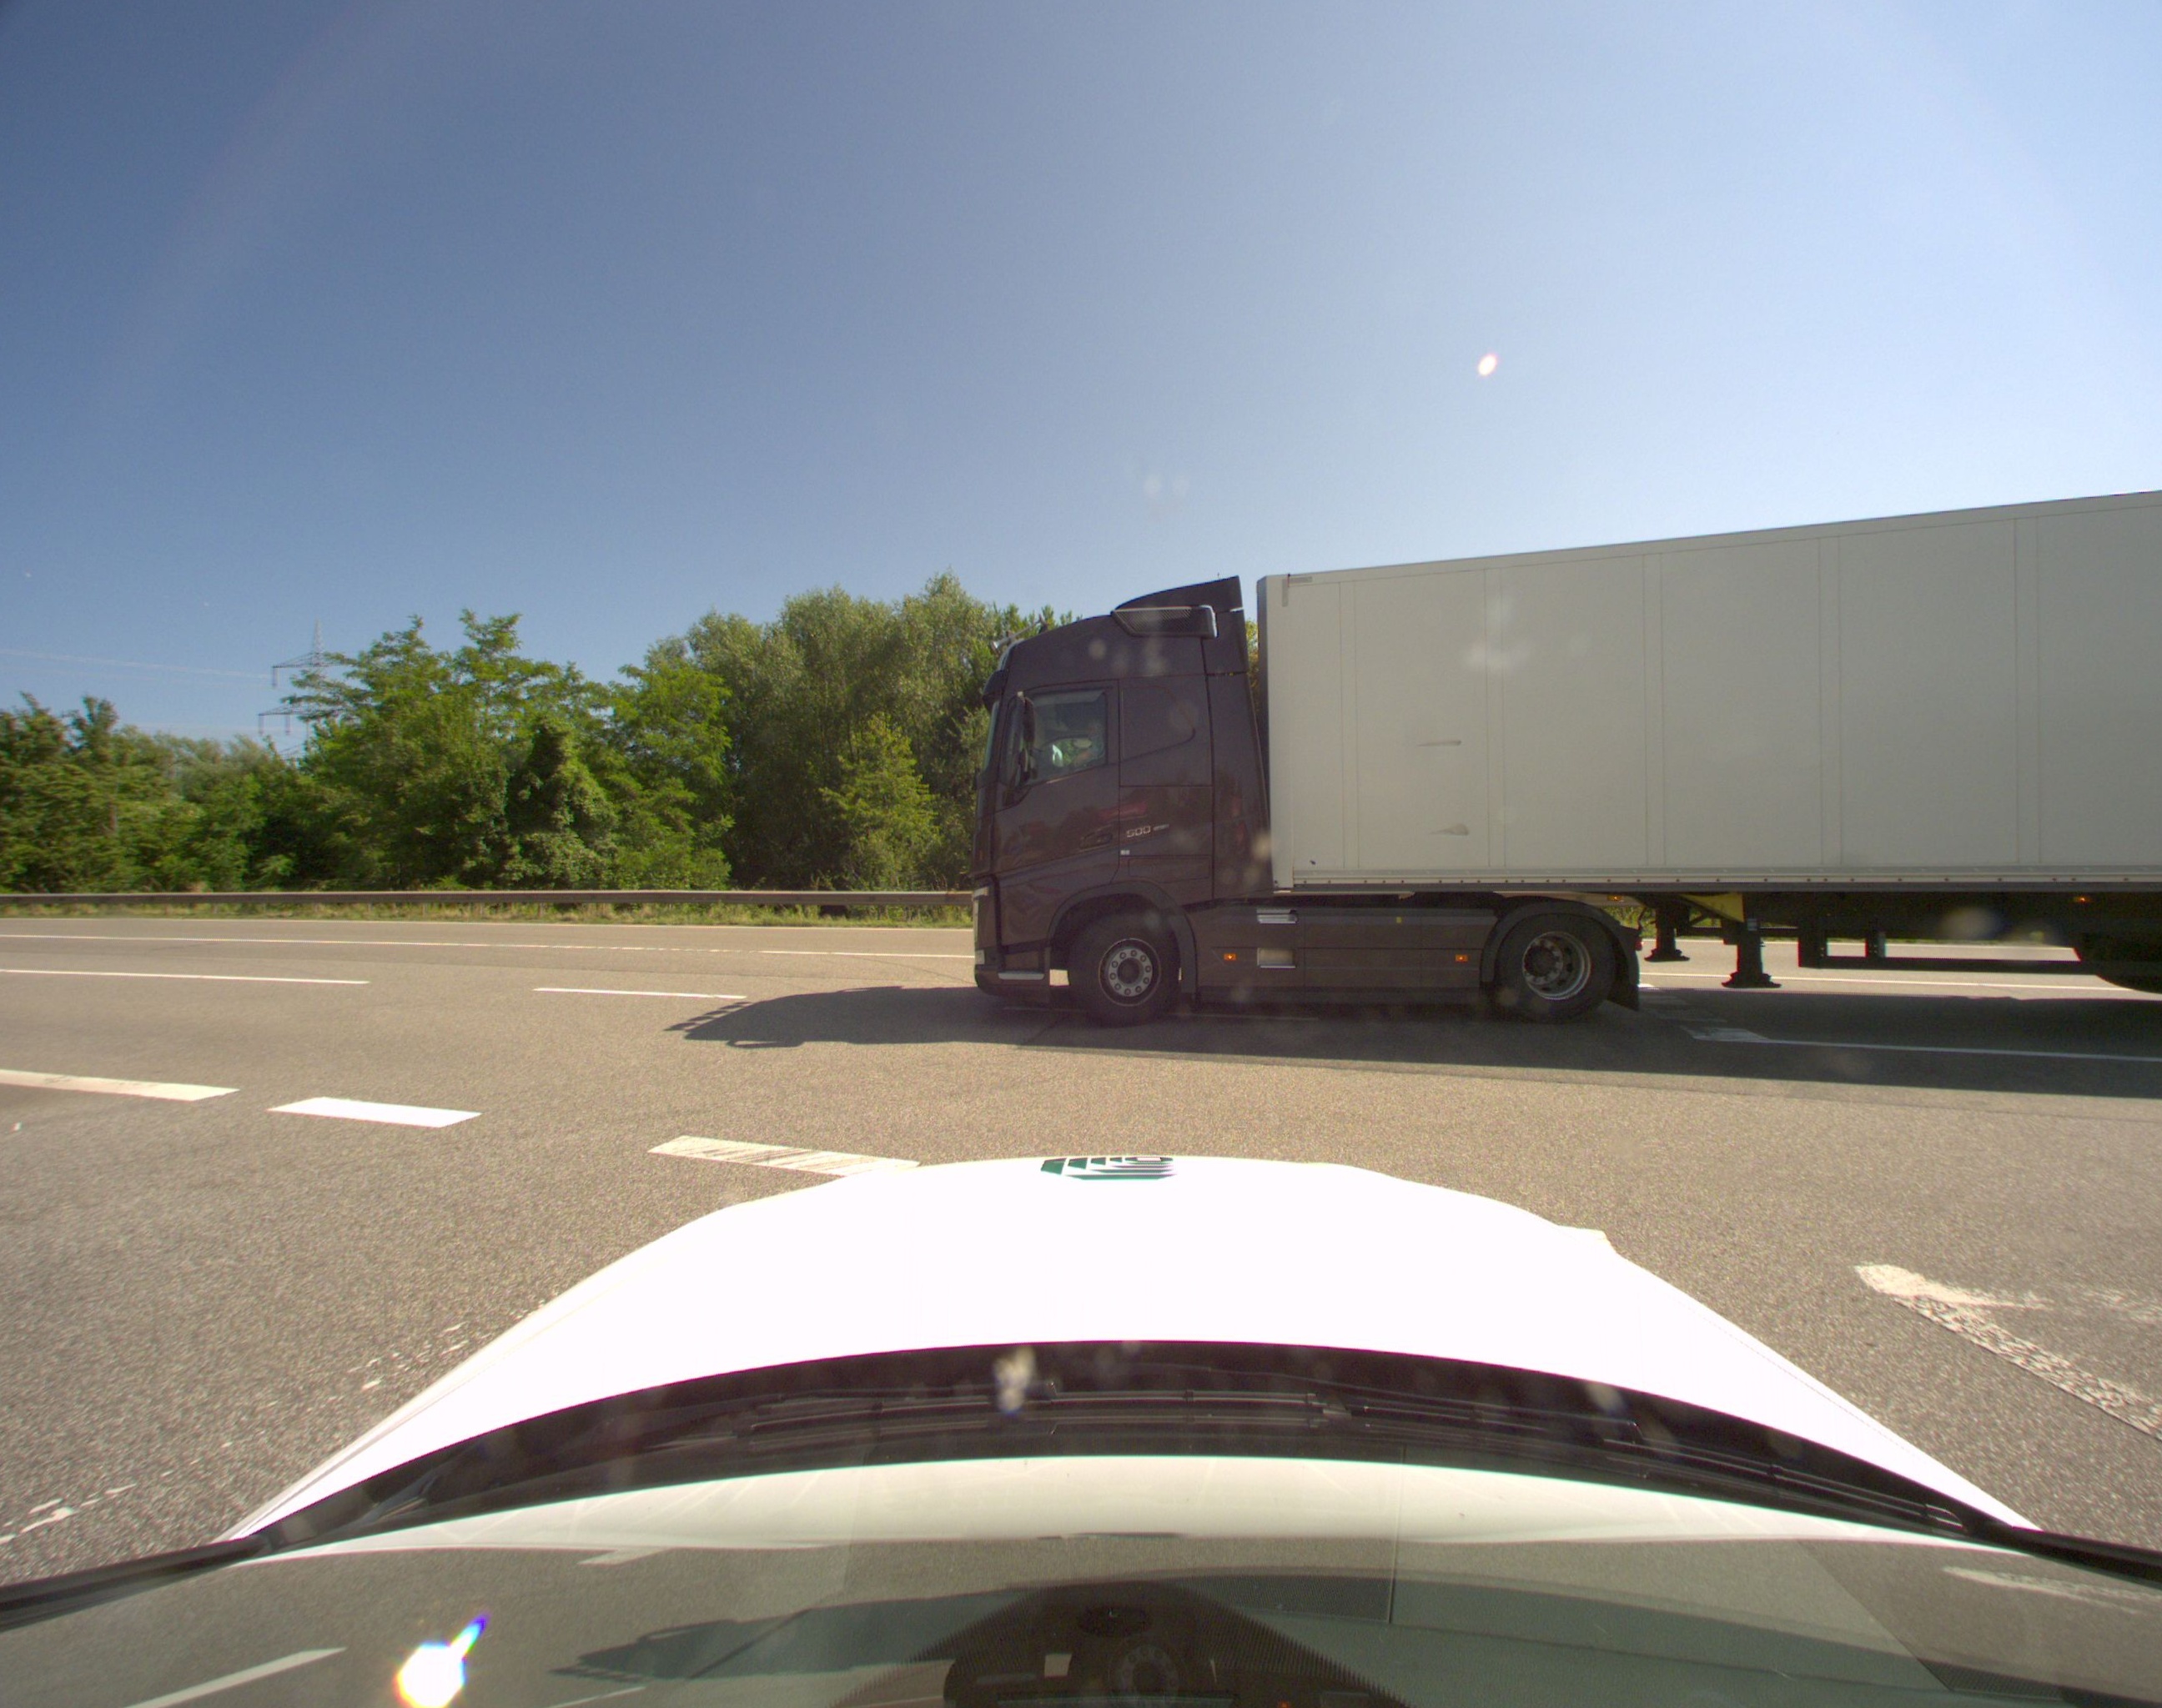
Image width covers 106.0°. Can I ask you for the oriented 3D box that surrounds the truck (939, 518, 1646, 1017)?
[{"bbox_3d":[1.835,-0.701,8.399,5.925,4.173,2.882,-1,0,3],"label":"truck"}]

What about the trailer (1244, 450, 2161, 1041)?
[{"bbox_3d":[8.586,-0.788,6.990,13.831,4.165,2.908,-1,0,15],"label":"trailer"}]
